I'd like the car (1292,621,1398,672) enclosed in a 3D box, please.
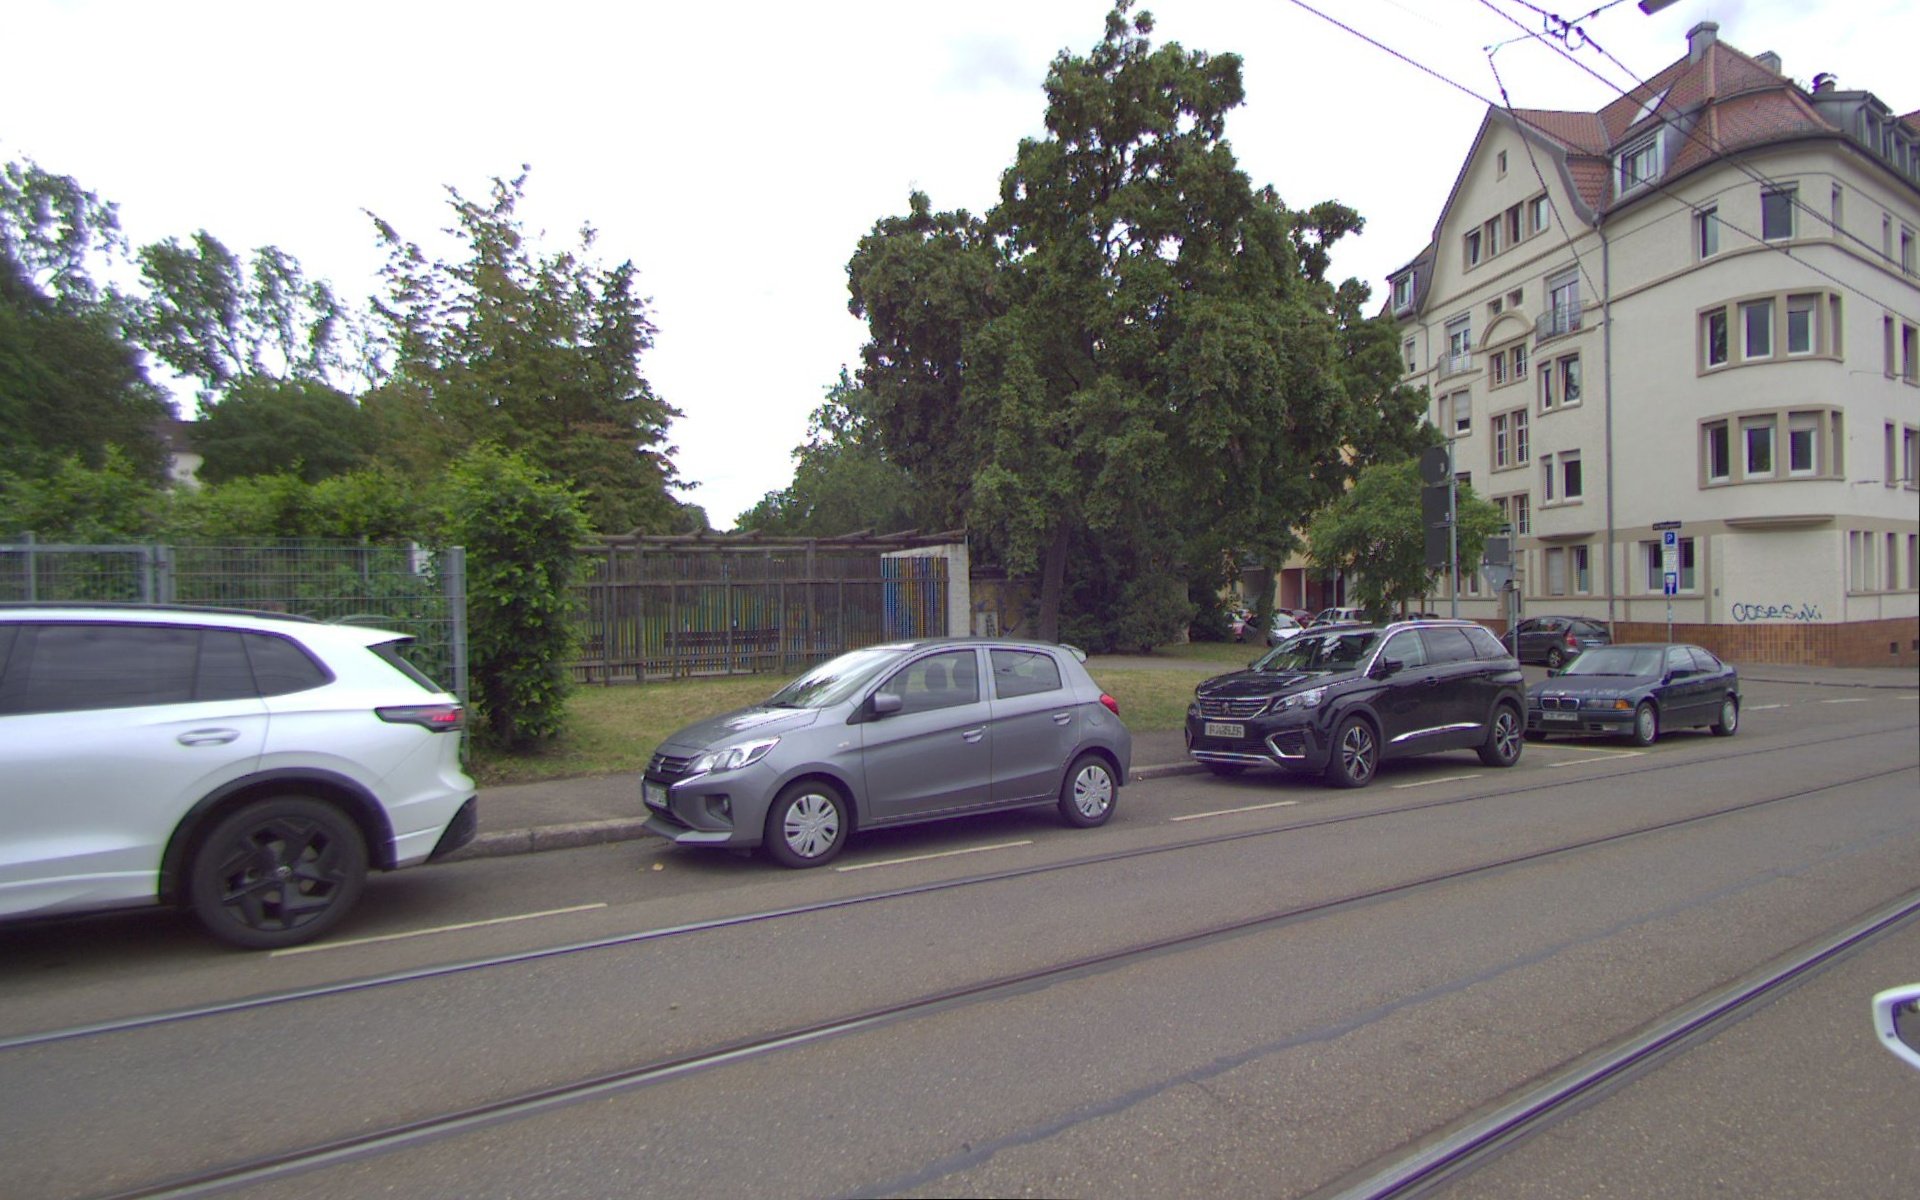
[{"bbox_3d":[12.932,1.529,34.004,1.727,1.459,3.995,0,1,-6],"label":"car"}]

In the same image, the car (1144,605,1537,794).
[{"bbox_3d":[4.322,0.994,11.163,4.399,1.708,1.957,2,-2,-35],"label":"car"}]

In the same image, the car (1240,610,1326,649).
[{"bbox_3d":[12.582,1.119,39.353,1.728,1.438,3.996,1,-1,-7],"label":"car"}]

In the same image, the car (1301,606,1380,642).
[{"bbox_3d":[17.283,1.096,45.850,1.728,1.564,3.996,1,-1,-6],"label":"car"}]

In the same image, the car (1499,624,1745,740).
[{"bbox_3d":[9.788,1.143,14.756,4.114,1.497,1.610,2,-2,-35],"label":"car"}]

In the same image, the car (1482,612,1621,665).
[{"bbox_3d":[18.843,1.182,32.211,1.841,1.592,3.996,1,-1,-6],"label":"car"}]

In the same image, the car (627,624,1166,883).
[{"bbox_3d":[-0.383,0.992,7.773,3.830,1.528,1.727,2,-2,-35],"label":"car"}]

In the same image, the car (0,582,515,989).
[{"bbox_3d":[-4.822,0.789,4.868,4.586,1.708,1.957,2,-2,-35],"label":"car"}]

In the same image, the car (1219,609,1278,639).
[{"bbox_3d":[15.901,1.316,55.592,1.728,1.564,3.996,1,-1,-6],"label":"car"}]

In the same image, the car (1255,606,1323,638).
[{"bbox_3d":[16.468,1.092,50.502,1.728,1.564,3.996,1,-1,-6],"label":"car"}]

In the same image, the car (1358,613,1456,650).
[{"bbox_3d":[17.906,1.233,40.411,1.841,1.372,3.996,1,-1,-6],"label":"car"}]

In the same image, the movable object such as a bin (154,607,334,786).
[{"bbox_3d":[-6.269,0.788,8.903,1.189,1.391,1.269,1,1,-32],"label":"movable object such as a bin"}]
